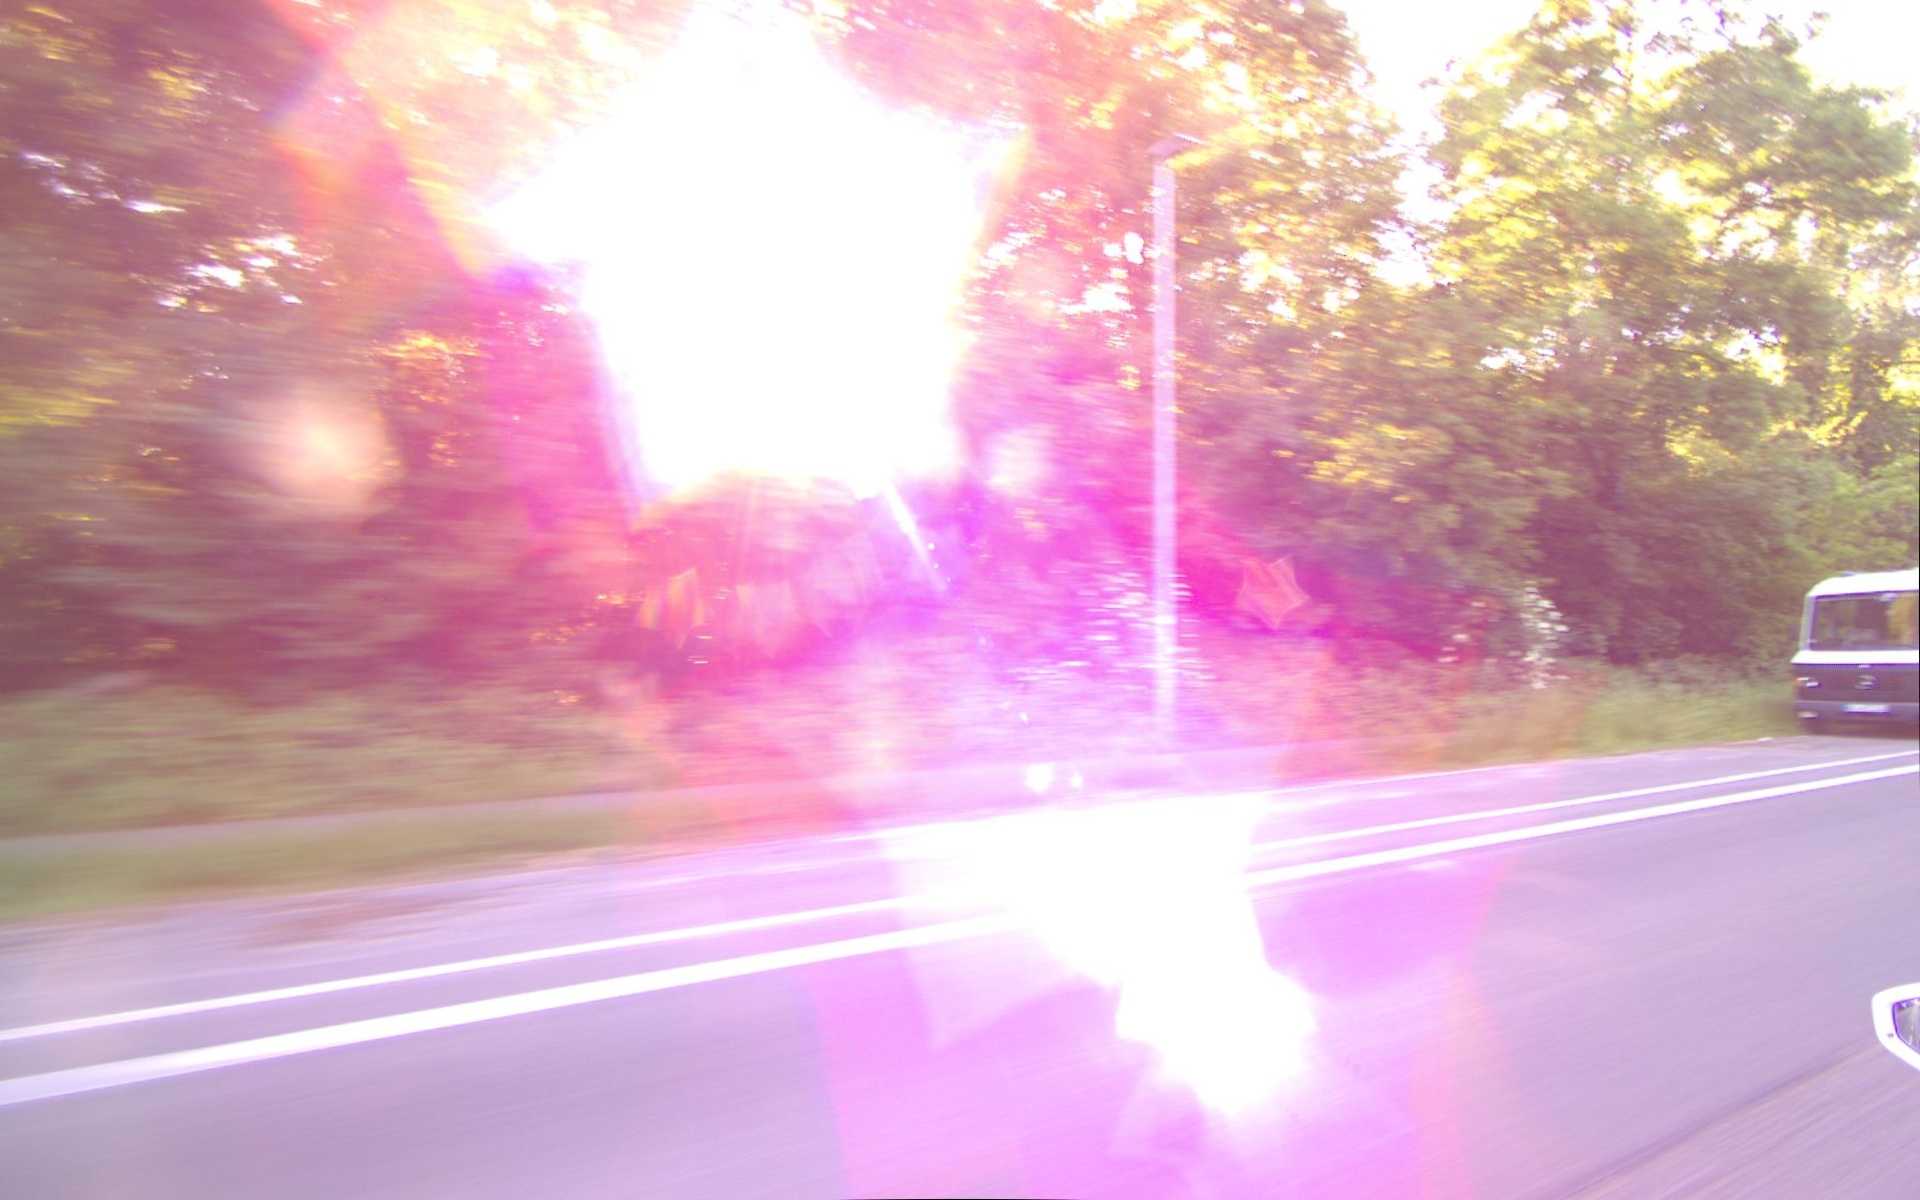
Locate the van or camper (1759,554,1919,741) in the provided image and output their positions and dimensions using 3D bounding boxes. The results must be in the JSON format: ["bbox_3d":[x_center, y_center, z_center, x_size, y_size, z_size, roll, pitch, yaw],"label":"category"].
[{"bbox_3d":[16.419,0.816,17.277,5.492,2.804,2.292,1,-4,-30],"label":"van or camper"}]
